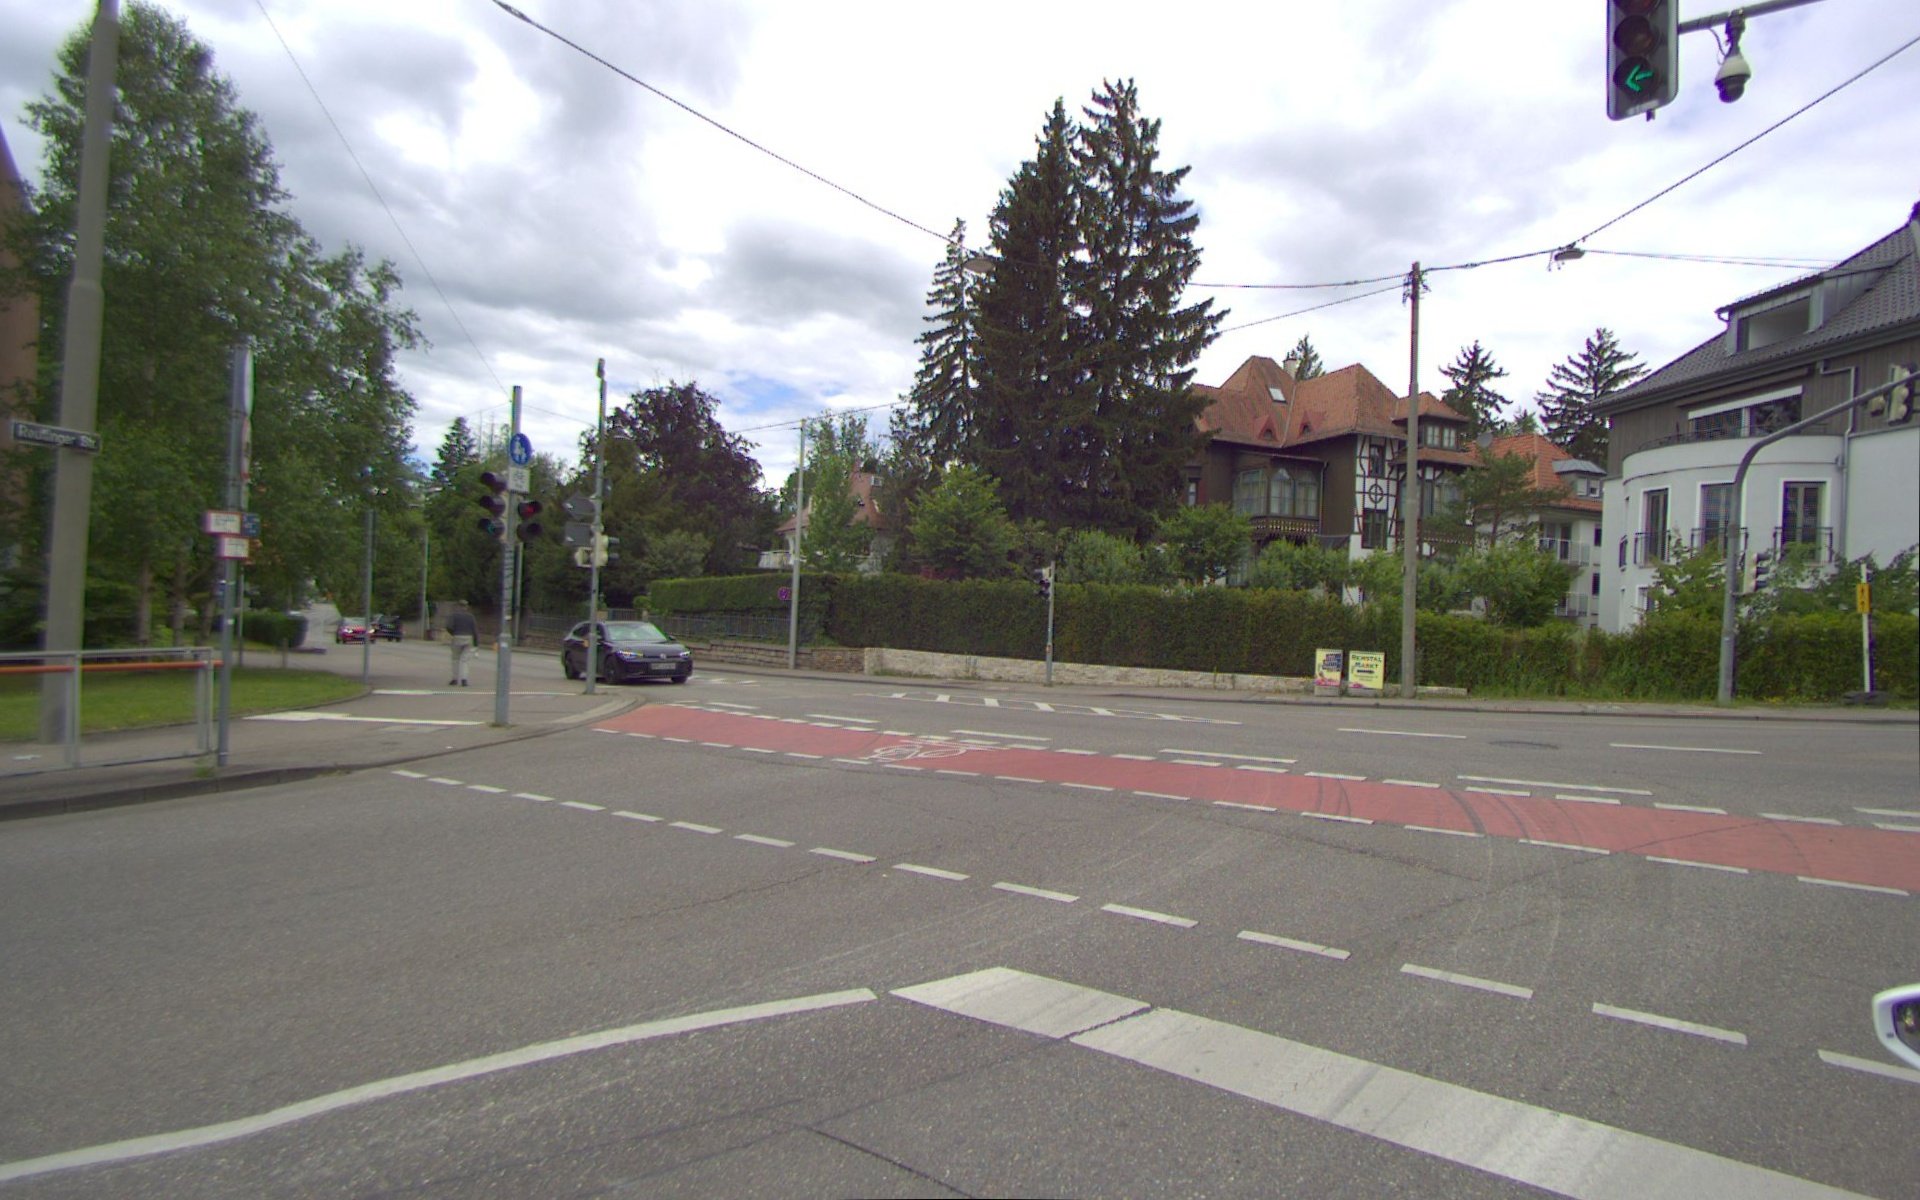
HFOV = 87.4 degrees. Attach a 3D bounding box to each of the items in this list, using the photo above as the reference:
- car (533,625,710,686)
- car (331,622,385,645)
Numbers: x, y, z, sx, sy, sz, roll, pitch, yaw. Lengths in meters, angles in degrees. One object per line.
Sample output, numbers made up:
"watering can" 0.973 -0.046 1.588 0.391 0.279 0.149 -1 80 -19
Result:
"car" -8.026 1.265 23.756 3.932 1.260 1.995 0 -2 34
"car" -35.644 1.989 59.427 1.985 1.216 3.951 2 -1 -42
